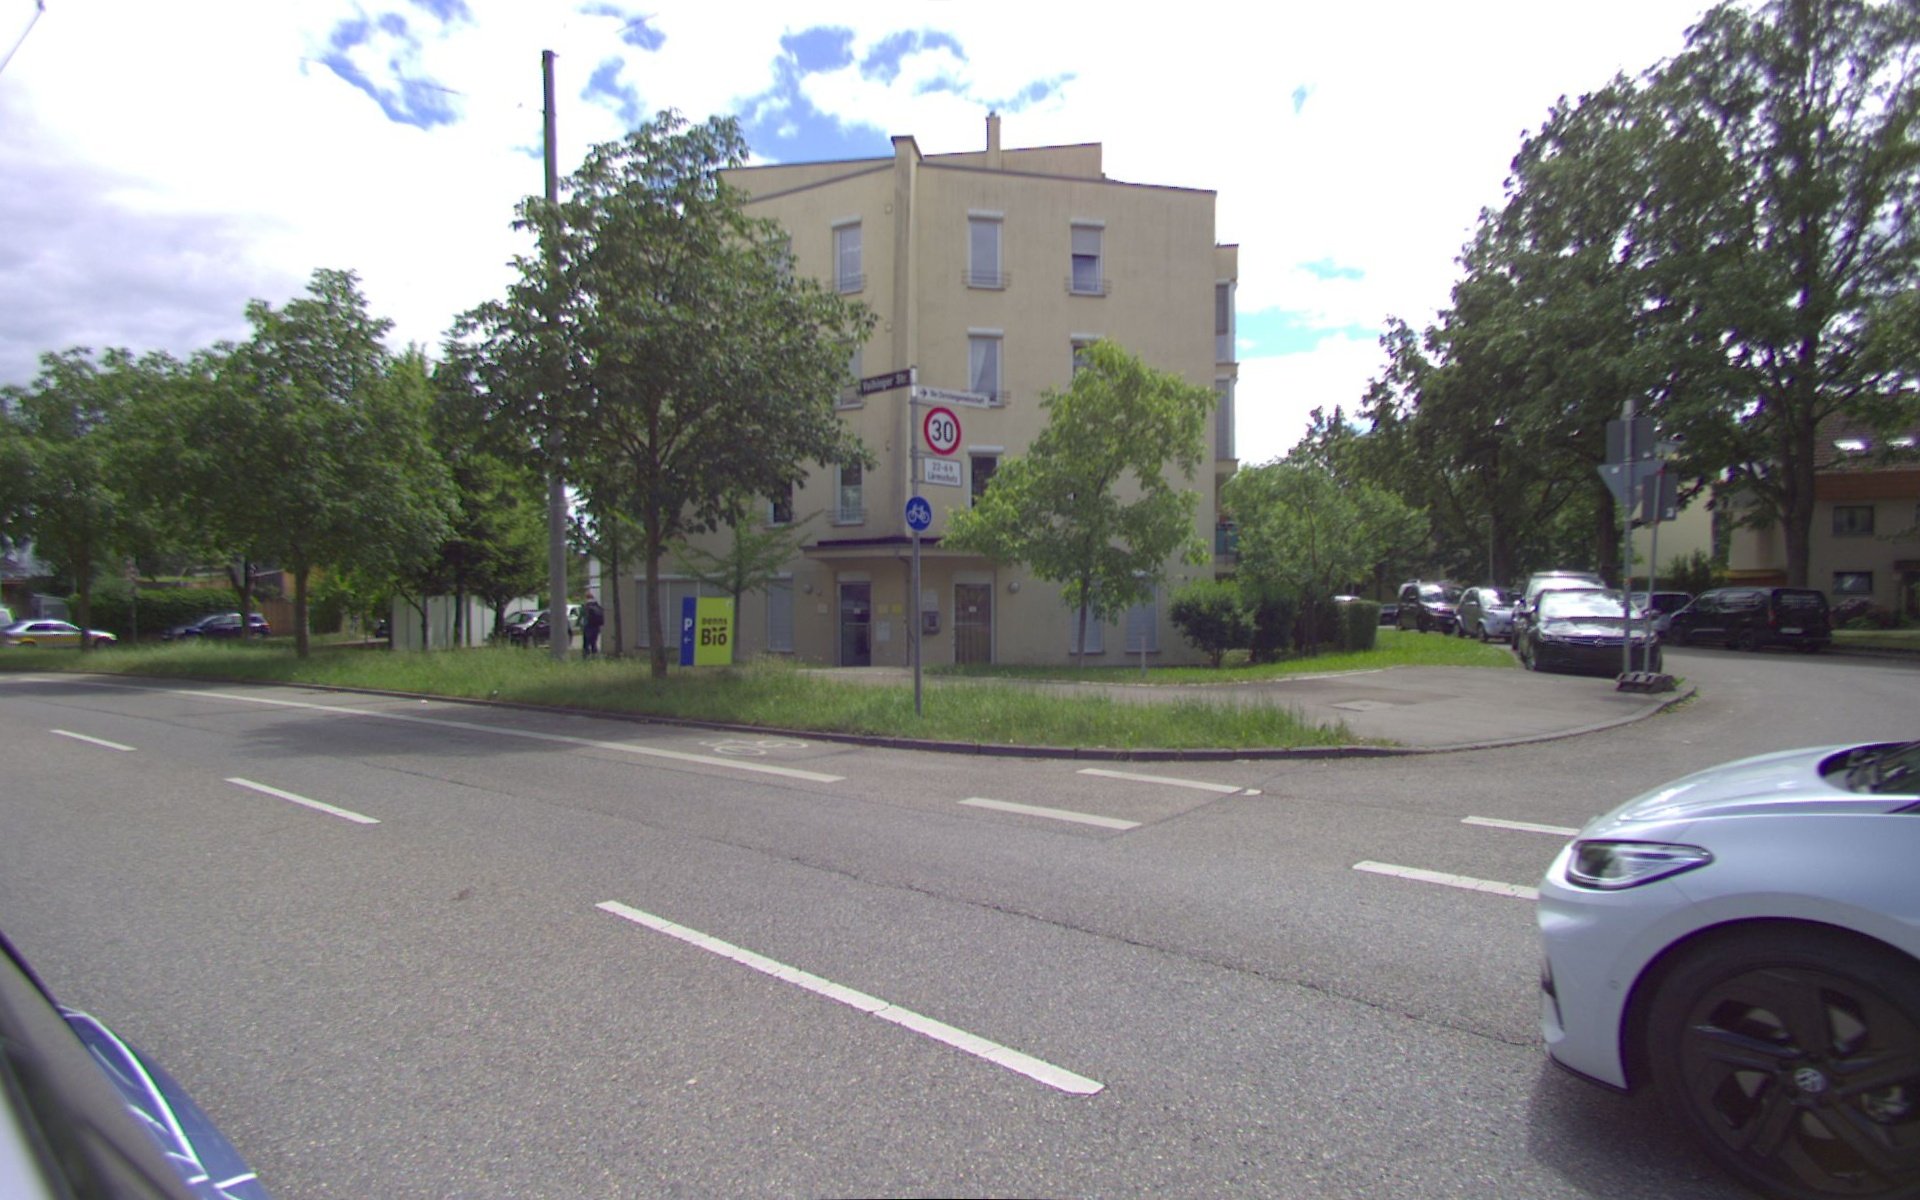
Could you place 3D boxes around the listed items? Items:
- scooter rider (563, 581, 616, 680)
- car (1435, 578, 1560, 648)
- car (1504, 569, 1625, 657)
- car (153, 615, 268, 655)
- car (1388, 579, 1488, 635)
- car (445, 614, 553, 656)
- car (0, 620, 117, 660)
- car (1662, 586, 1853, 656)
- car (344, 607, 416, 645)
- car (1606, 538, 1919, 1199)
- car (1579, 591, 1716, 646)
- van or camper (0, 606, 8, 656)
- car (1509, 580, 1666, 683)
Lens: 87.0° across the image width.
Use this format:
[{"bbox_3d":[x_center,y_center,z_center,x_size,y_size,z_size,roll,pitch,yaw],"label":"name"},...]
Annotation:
[{"bbox_3d":[-7.864,0.629,21.481,0.793,2.028,0.670,0,2,37],"label":"scooter rider"},{"bbox_3d":[14.910,0.347,28.309,1.745,1.807,3.991,-1,0,8],"label":"car"},{"bbox_3d":[13.367,0.219,22.603,1.861,1.665,4.396,-1,2,25],"label":"car"},{"bbox_3d":[-34.701,1.569,46.935,1.713,1.694,3.933,0,0,33],"label":"car"},{"bbox_3d":[15.494,0.226,33.002,1.696,1.676,3.992,-1,0,6],"label":"car"},{"bbox_3d":[-16.736,1.279,36.965,1.772,1.431,3.990,-2,-2,7],"label":"car"},{"bbox_3d":[-37.978,1.620,42.241,1.527,1.331,4.014,-1,2,24],"label":"car"},{"bbox_3d":[22.342,0.562,28.629,2.099,1.807,4.412,-1,0,5],"label":"car"},{"bbox_3d":[-32.978,1.435,57.666,1.952,2.029,4.004,-2,0,-4],"label":"car"},{"bbox_3d":[3.823,0.667,2.039,4.000,1.592,1.878,0,0,43],"label":"car"},{"bbox_3d":[23.119,0.602,34.263,1.919,1.716,4.269,-1,0,5],"label":"car"},{"bbox_3d":[-42.442,1.337,43.400,3.807,2.104,1.772,0,3,39],"label":"van or camper"},{"bbox_3d":[10.553,0.451,17.302,1.727,1.408,4.119,-1,2,24],"label":"car"}]
